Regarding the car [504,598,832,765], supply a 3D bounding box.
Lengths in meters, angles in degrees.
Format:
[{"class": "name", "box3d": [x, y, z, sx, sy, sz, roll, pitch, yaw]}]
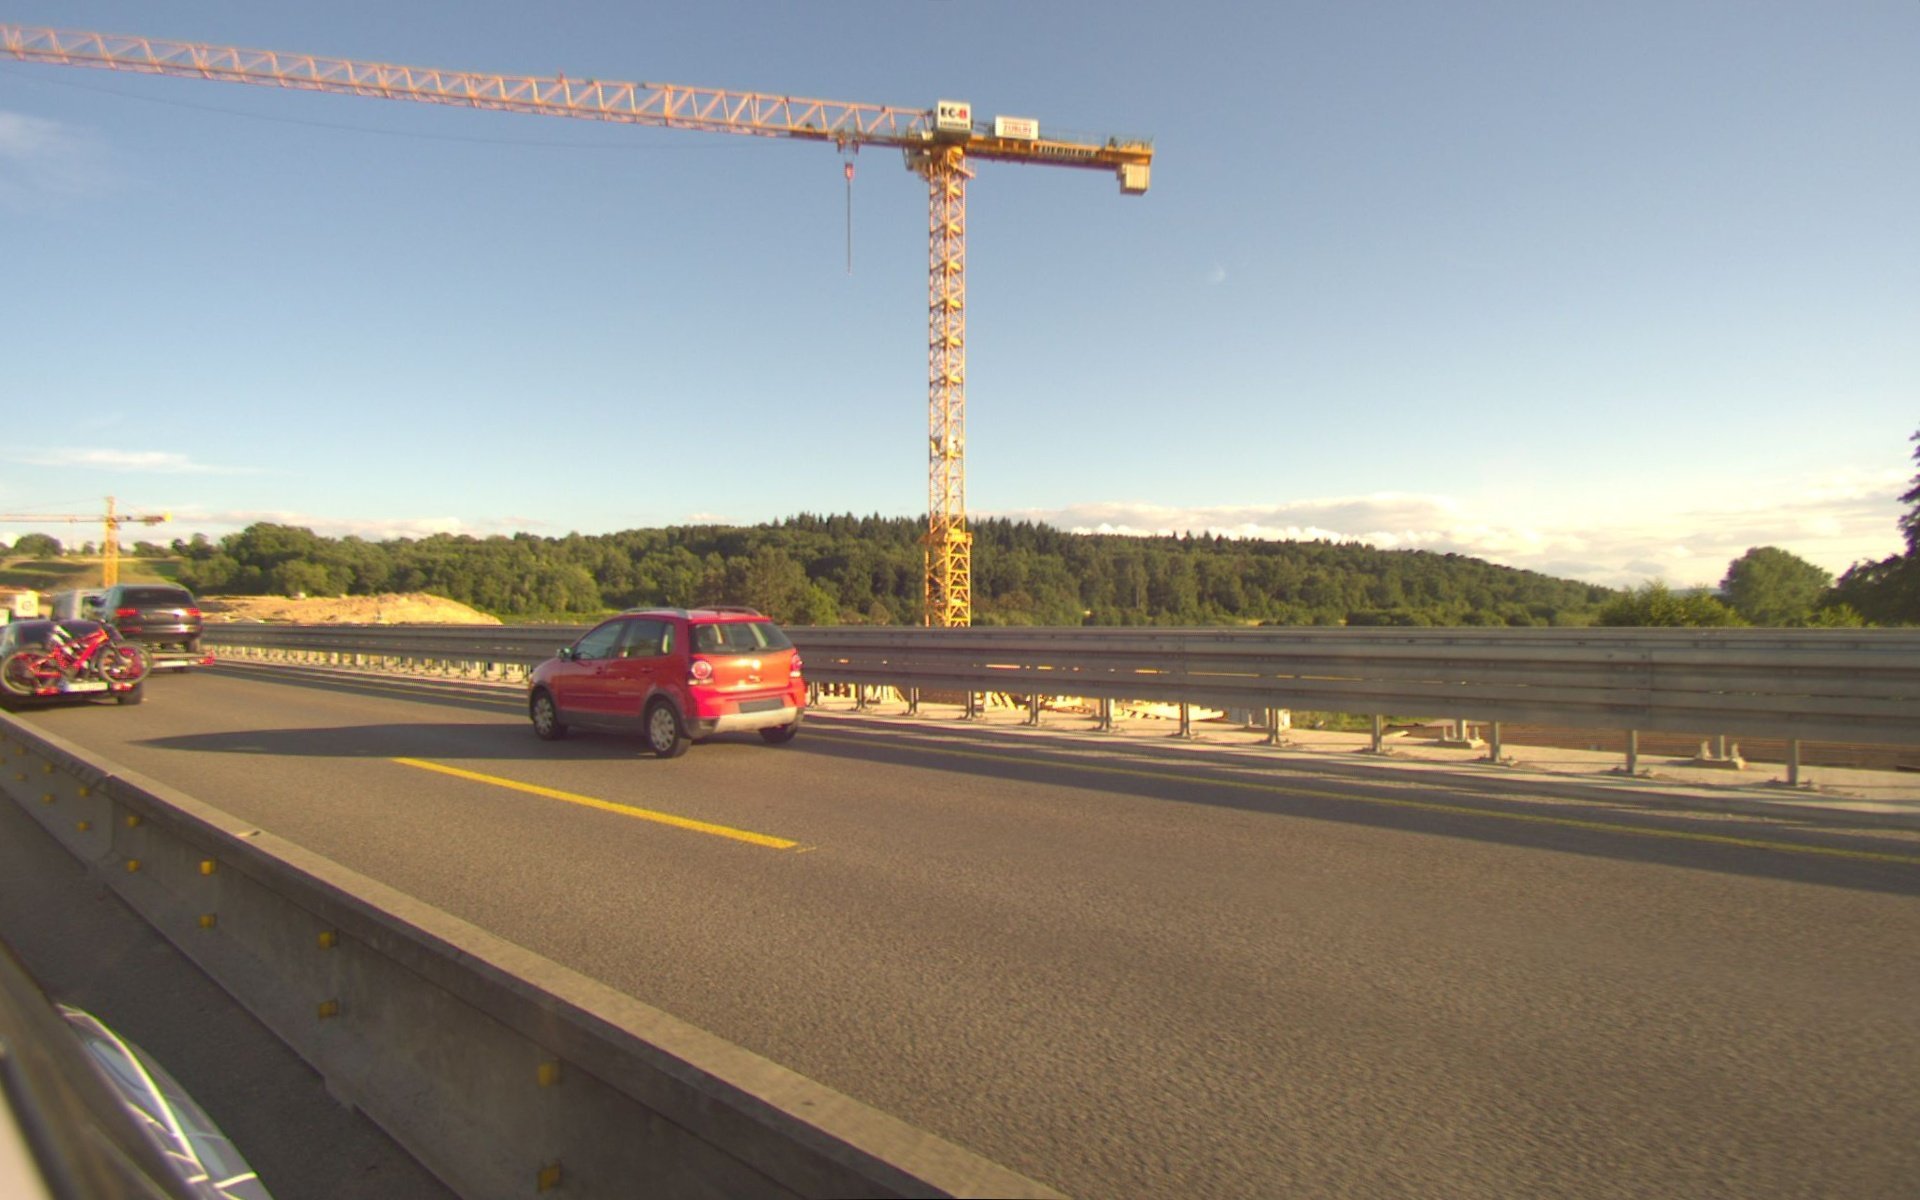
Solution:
[{"class": "car", "box3d": [-3.418, 0.809, 11.438, 4.085, 1.564, 1.600, -1, -1, 41]}]

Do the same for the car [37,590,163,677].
[{"class": "car", "box3d": [-25.641, 0.960, 30.080, 5.931, 2.341, 1.973, -2, -1, 41]}]

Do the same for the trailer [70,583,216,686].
[{"class": "trailer", "box3d": [-21.386, 0.867, 26.415, 5.215, 2.439, 2.055, -2, 0, 41]}]

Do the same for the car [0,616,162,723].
[{"class": "car", "box3d": [-15.718, 1.097, 17.524, 5.779, 1.541, 1.973, -2, -1, 41]}]
